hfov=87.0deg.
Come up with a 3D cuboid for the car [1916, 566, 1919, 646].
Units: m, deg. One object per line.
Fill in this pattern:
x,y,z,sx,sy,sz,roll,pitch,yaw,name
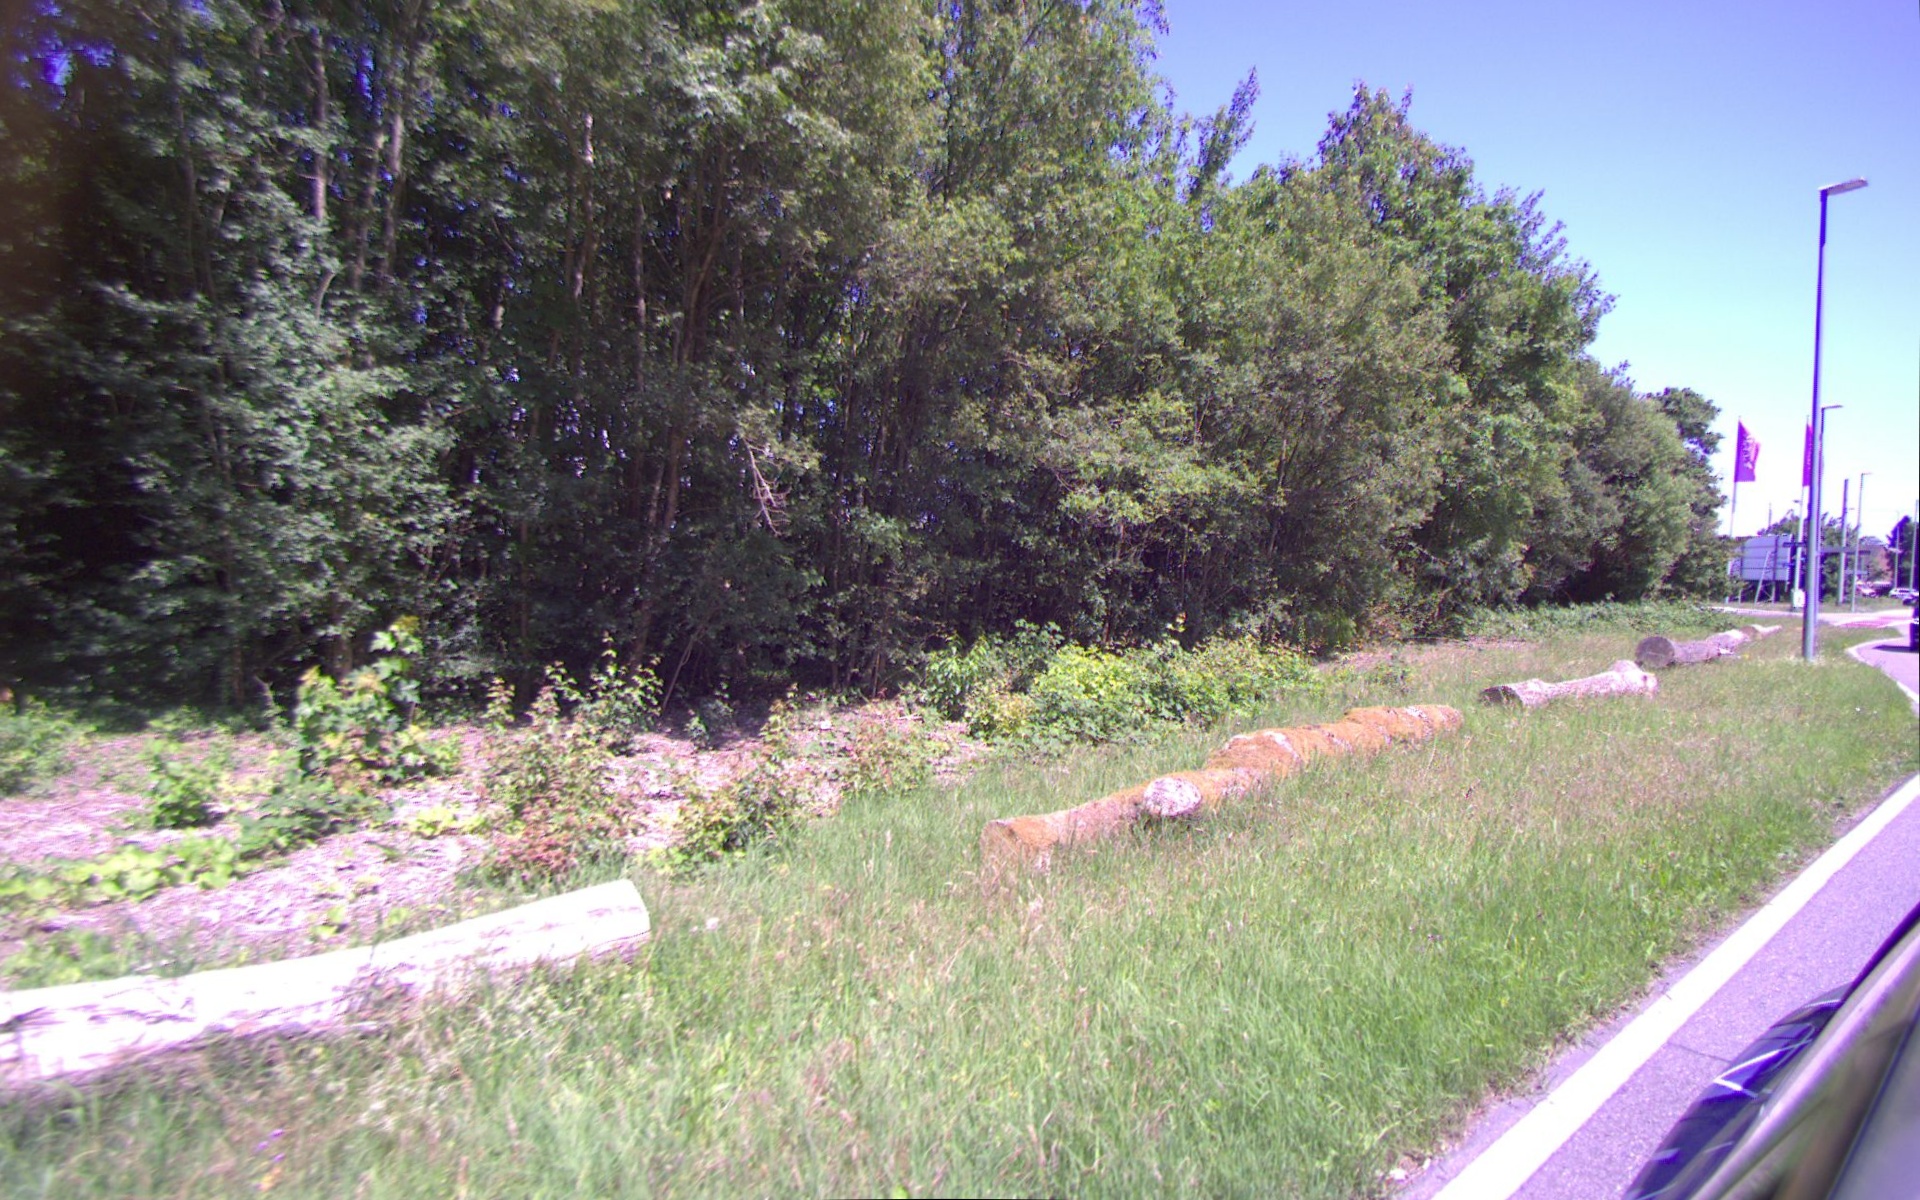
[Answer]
26.293,0.172,26.220,4.377,2.001,1.998,-1,2,-44,car
